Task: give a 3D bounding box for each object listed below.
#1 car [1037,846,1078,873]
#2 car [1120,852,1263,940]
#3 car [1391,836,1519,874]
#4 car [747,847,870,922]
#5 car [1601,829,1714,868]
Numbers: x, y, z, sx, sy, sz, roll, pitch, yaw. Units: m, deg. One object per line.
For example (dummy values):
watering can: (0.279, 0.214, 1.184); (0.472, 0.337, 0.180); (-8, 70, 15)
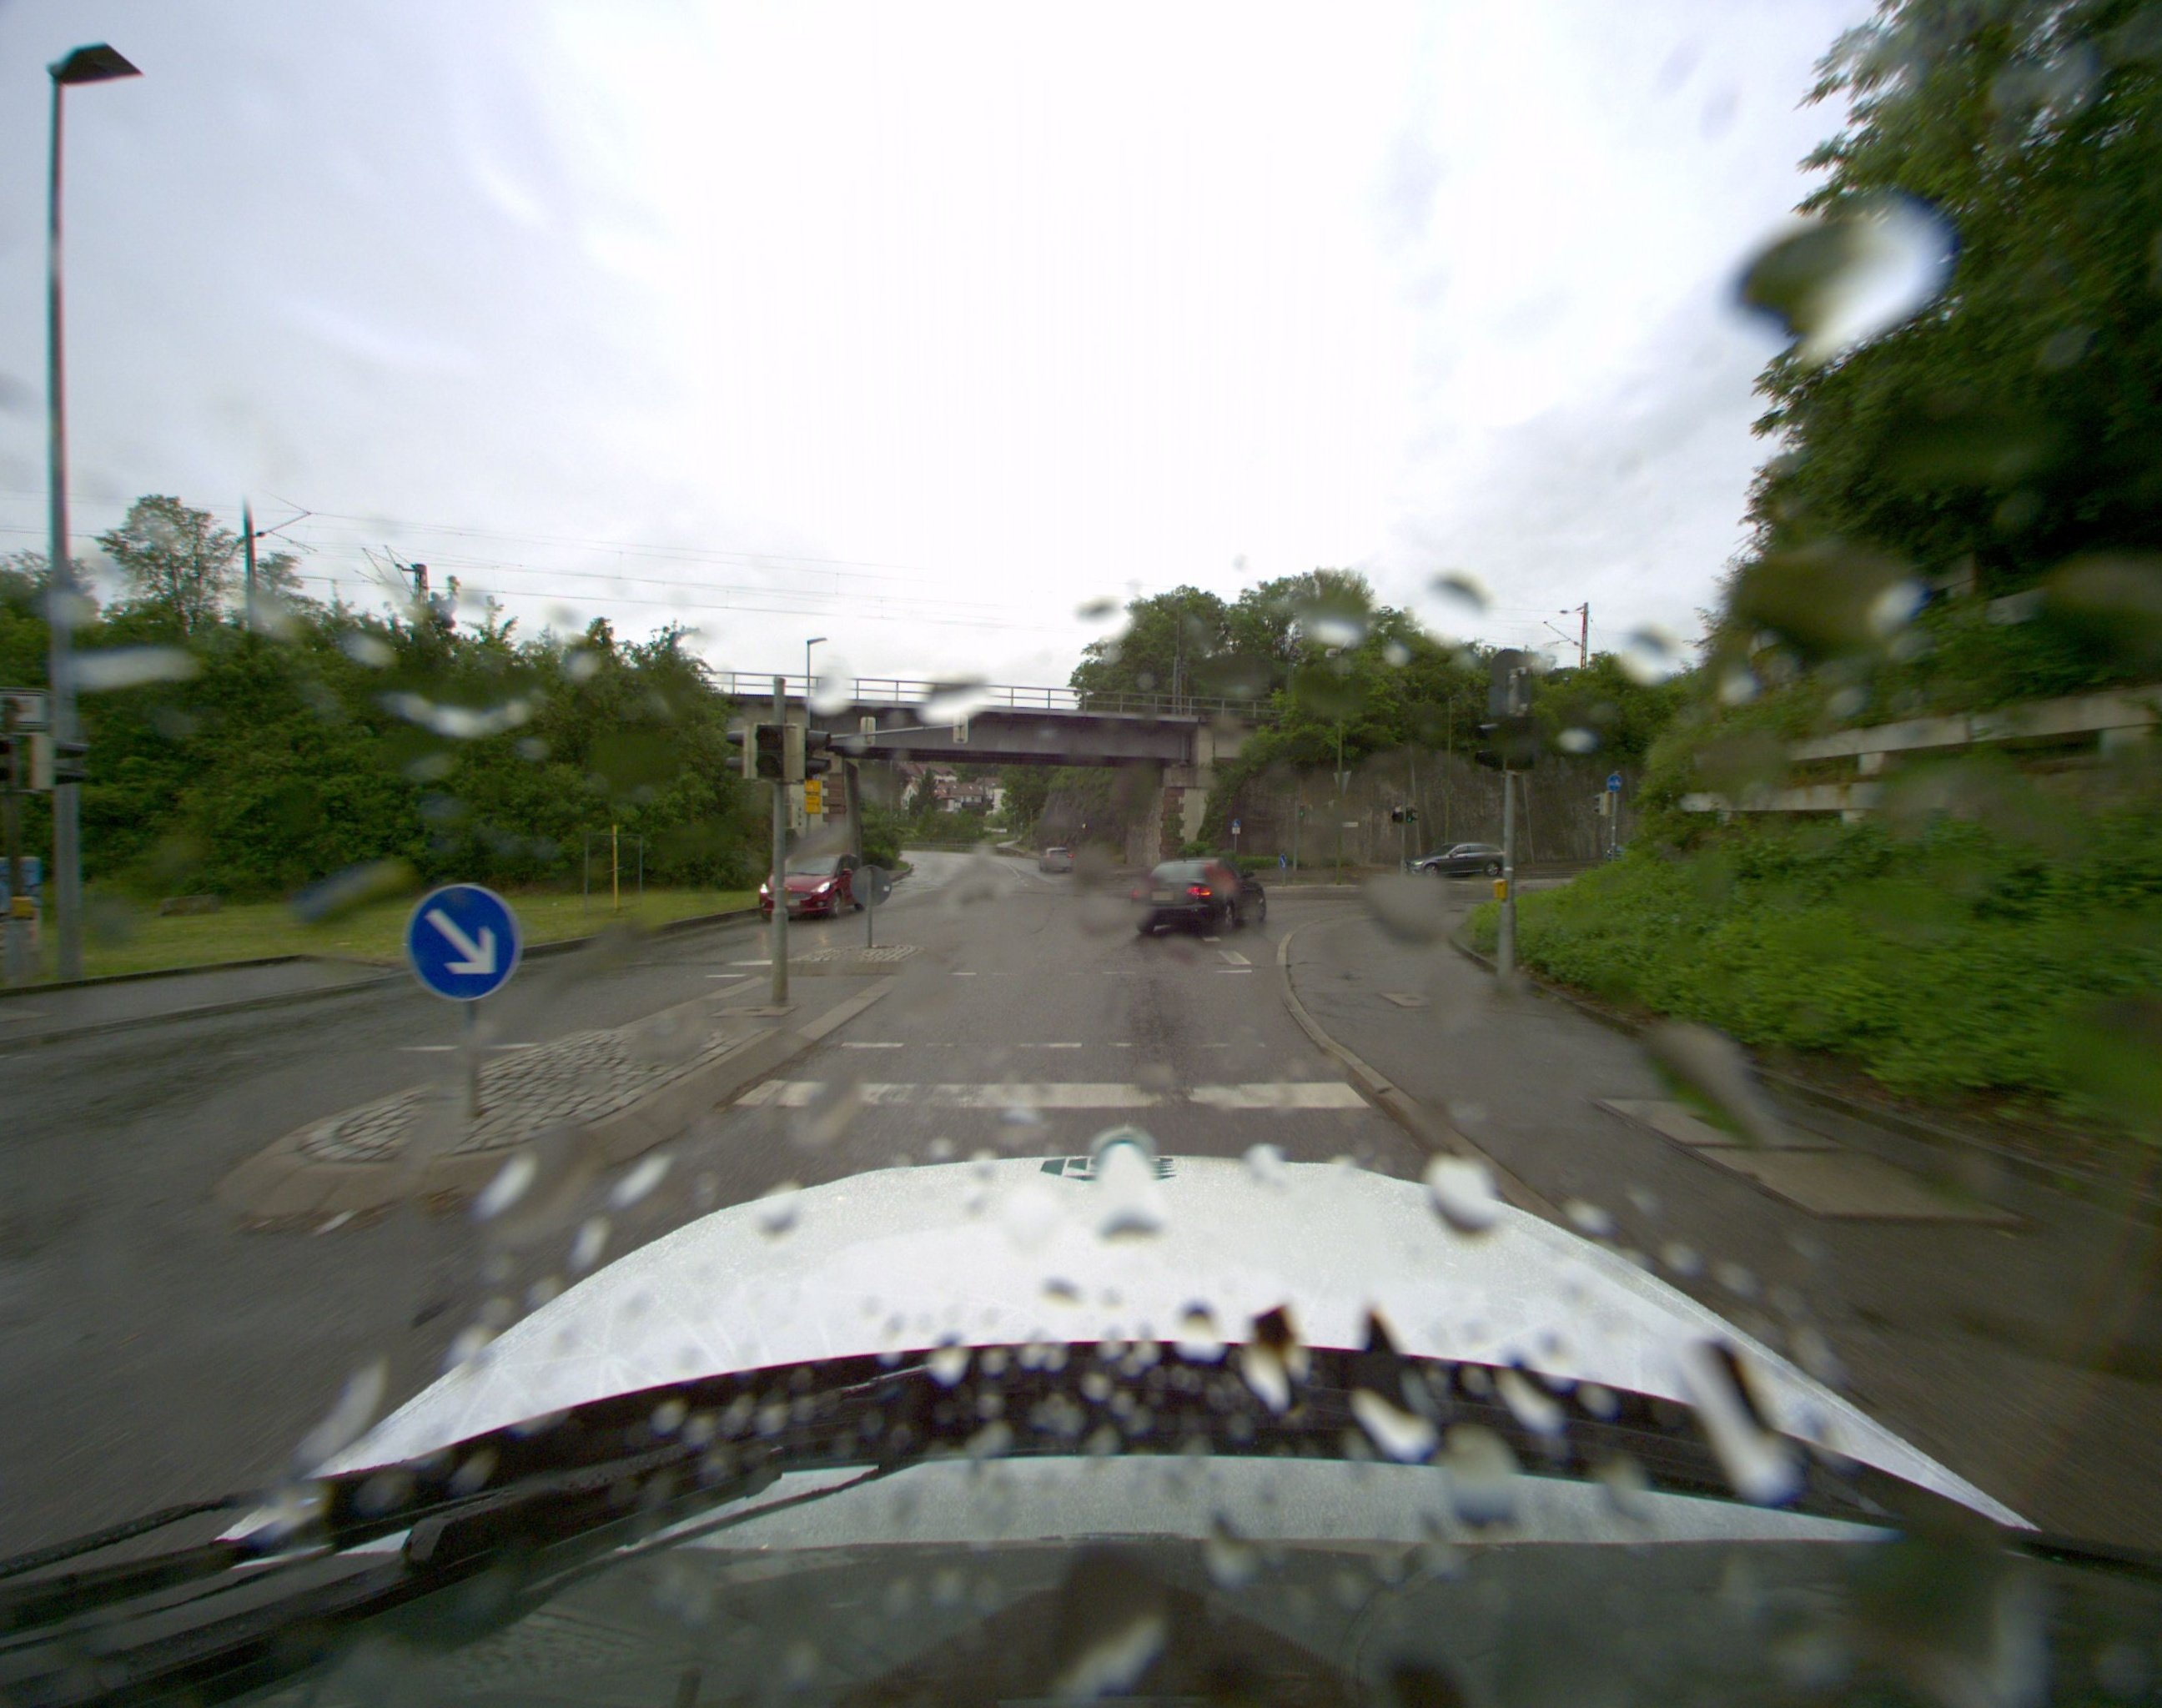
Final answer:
car: (-1.495, 0.339, 50.094); (1.993, 1.562, 3.988); (-1, 0, -9)
car: (2.347, 0.732, 16.183); (1.876, 1.492, 4.229); (-1, 0, 21)
car: (16.142, 0.034, 35.299); (4.709, 1.503, 1.995); (-1, 0, -7)
car: (-6.941, 0.716, 21.308); (1.893, 1.714, 4.675); (-1, 0, -4)
car: (26.169, -0.259, 37.031); (4.034, 1.657, 1.816); (-1, 0, -8)
